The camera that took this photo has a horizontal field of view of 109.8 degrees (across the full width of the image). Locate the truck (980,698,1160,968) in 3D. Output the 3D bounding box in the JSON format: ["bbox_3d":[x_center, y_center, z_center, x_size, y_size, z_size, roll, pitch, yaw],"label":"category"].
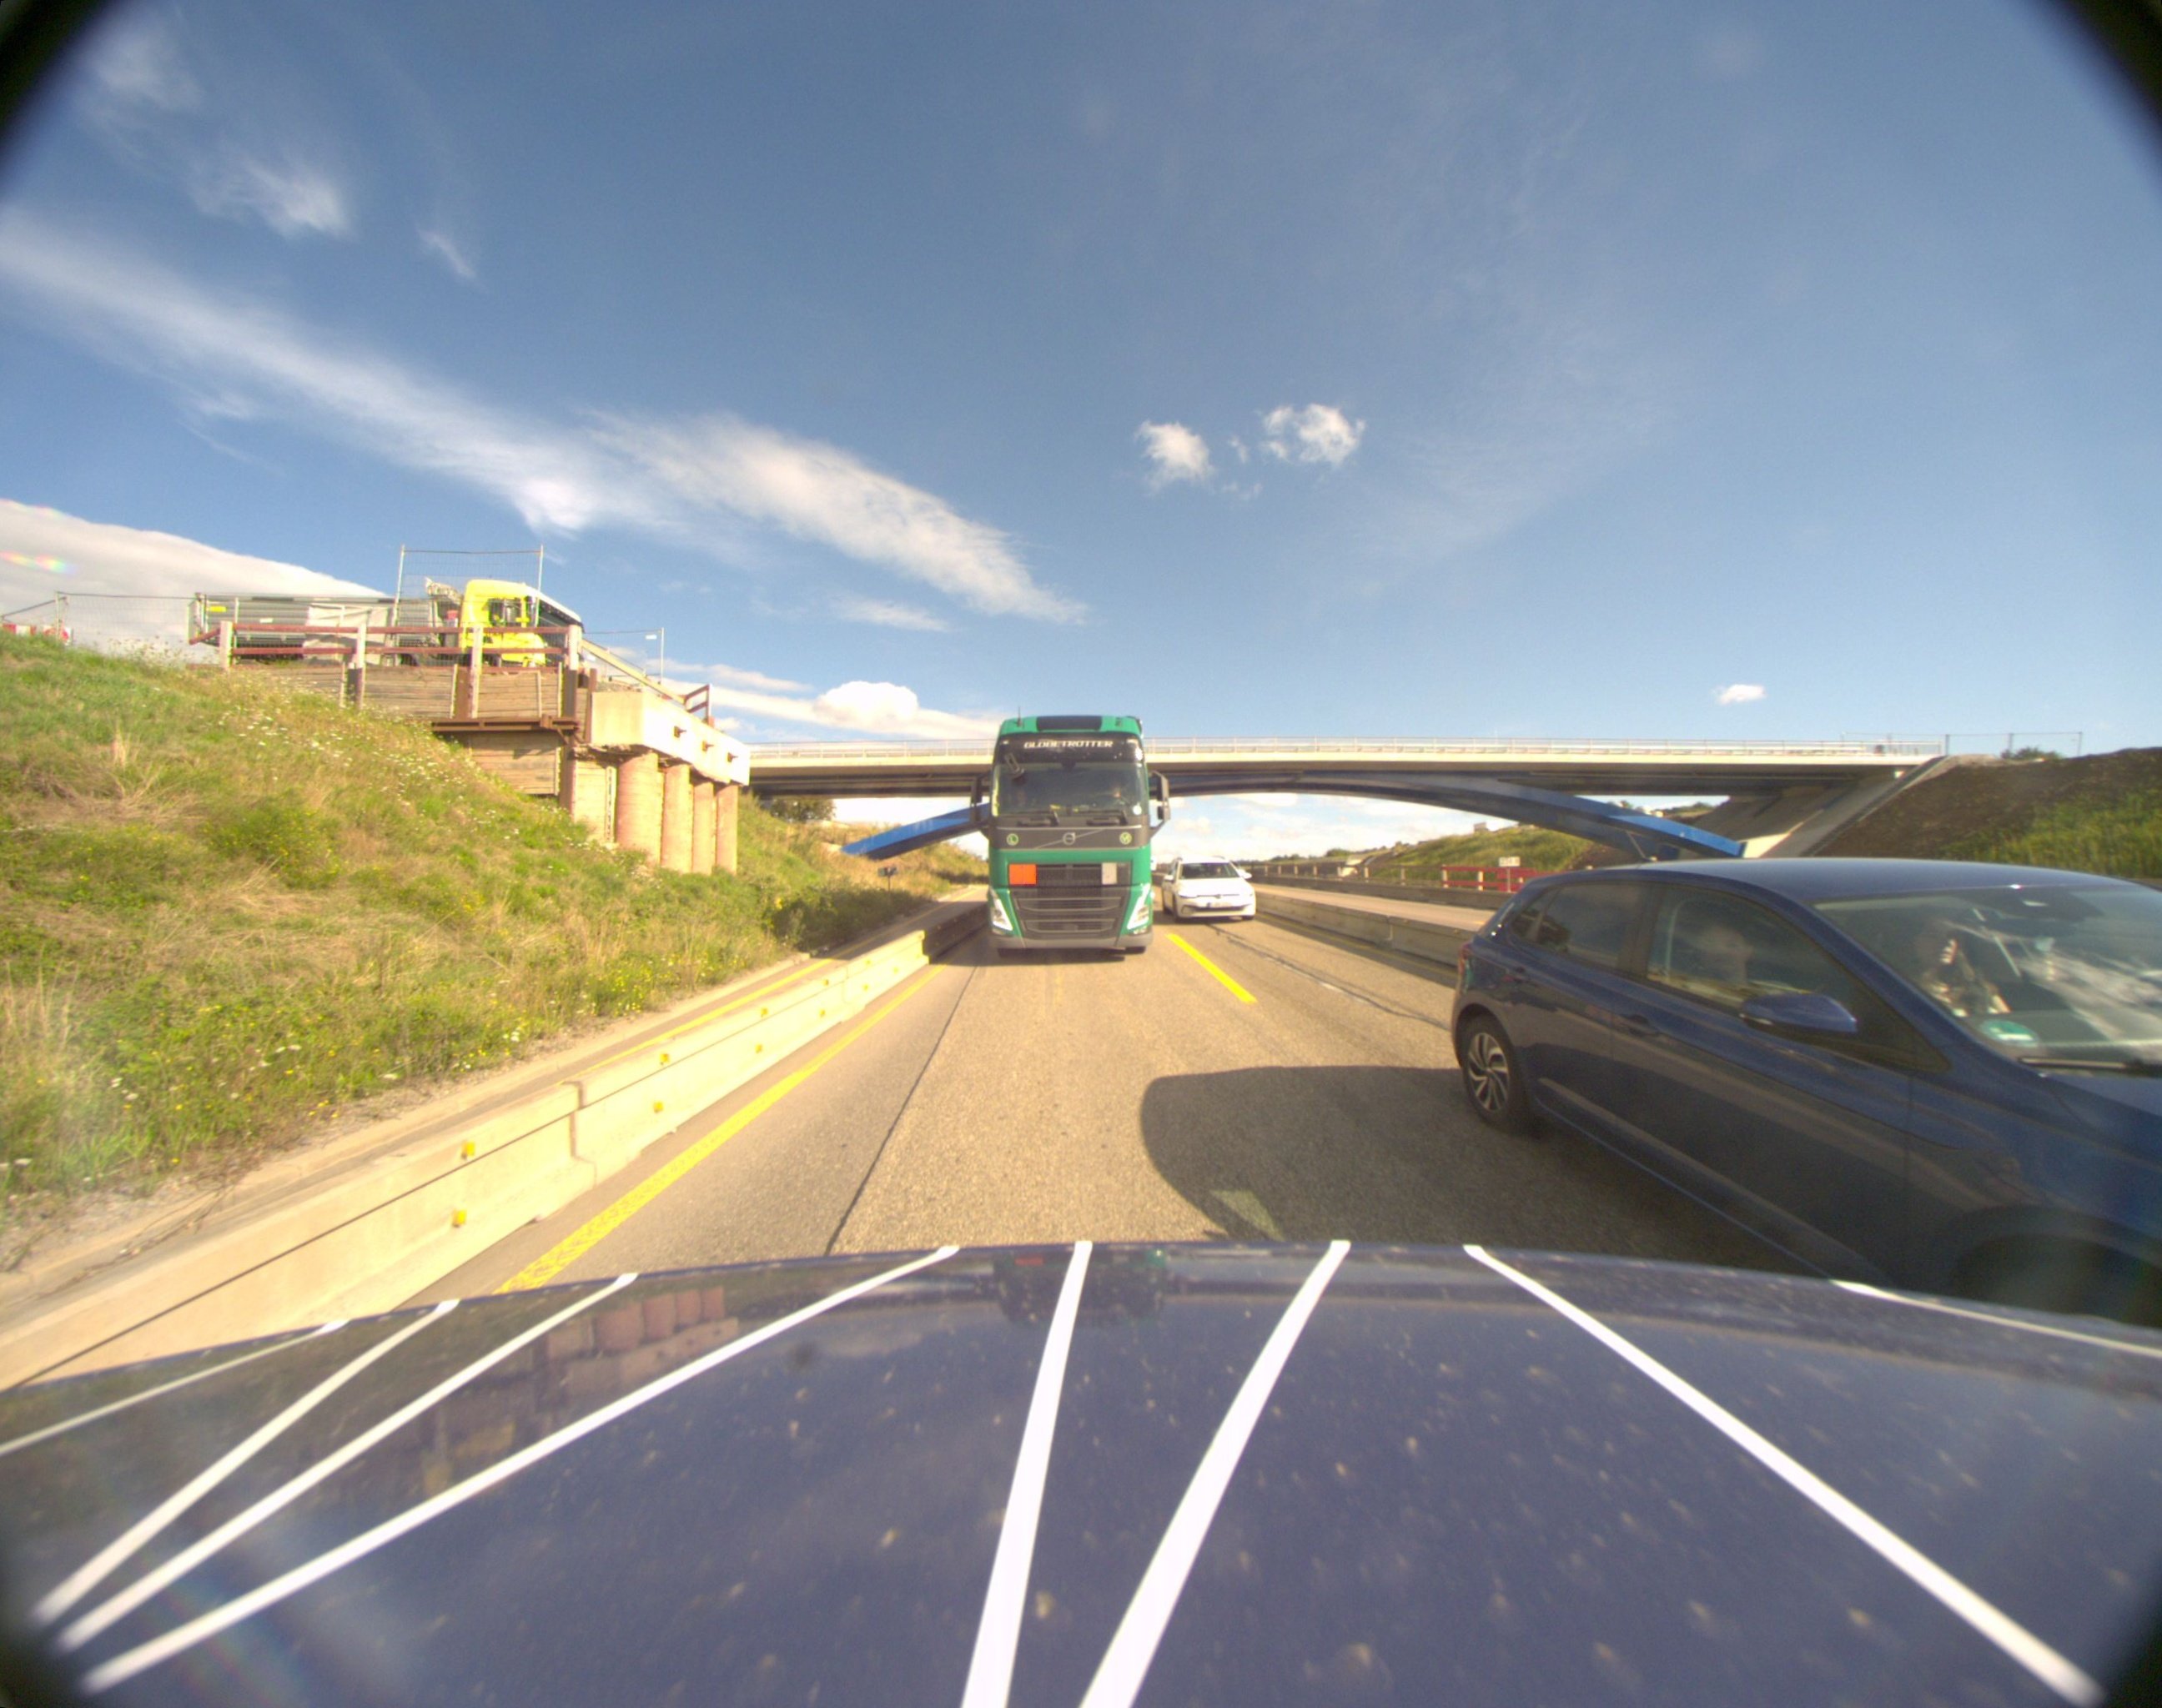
[{"bbox_3d":[-0.150,-0.301,15.241,2.546,3.899,8.279,-1,0,0],"label":"truck"}]

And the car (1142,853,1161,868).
[{"bbox_3d":[8.178,0.796,88.526,1.738,1.649,4.217,1,-1,-2],"label":"car"}]

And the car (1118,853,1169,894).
[{"bbox_3d":[2.716,0.809,34.064,1.855,1.667,4.259,-3,0,0],"label":"car"}]

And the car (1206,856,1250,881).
[{"bbox_3d":[8.983,0.857,46.886,1.738,1.417,4.627,1,0,-1],"label":"car"}]

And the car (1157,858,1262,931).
[{"bbox_3d":[2.965,0.874,18.423,1.825,1.487,4.374,-2,0,1],"label":"car"}]

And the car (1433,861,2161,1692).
[{"bbox_3d":[2.922,0.824,2.475,1.719,1.499,4.000,-2,0,1],"label":"car"}]

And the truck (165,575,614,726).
[{"bbox_3d":[-18.387,-5.423,20.743,9.288,3.209,2.959,-1,0,-2],"label":"truck"}]
